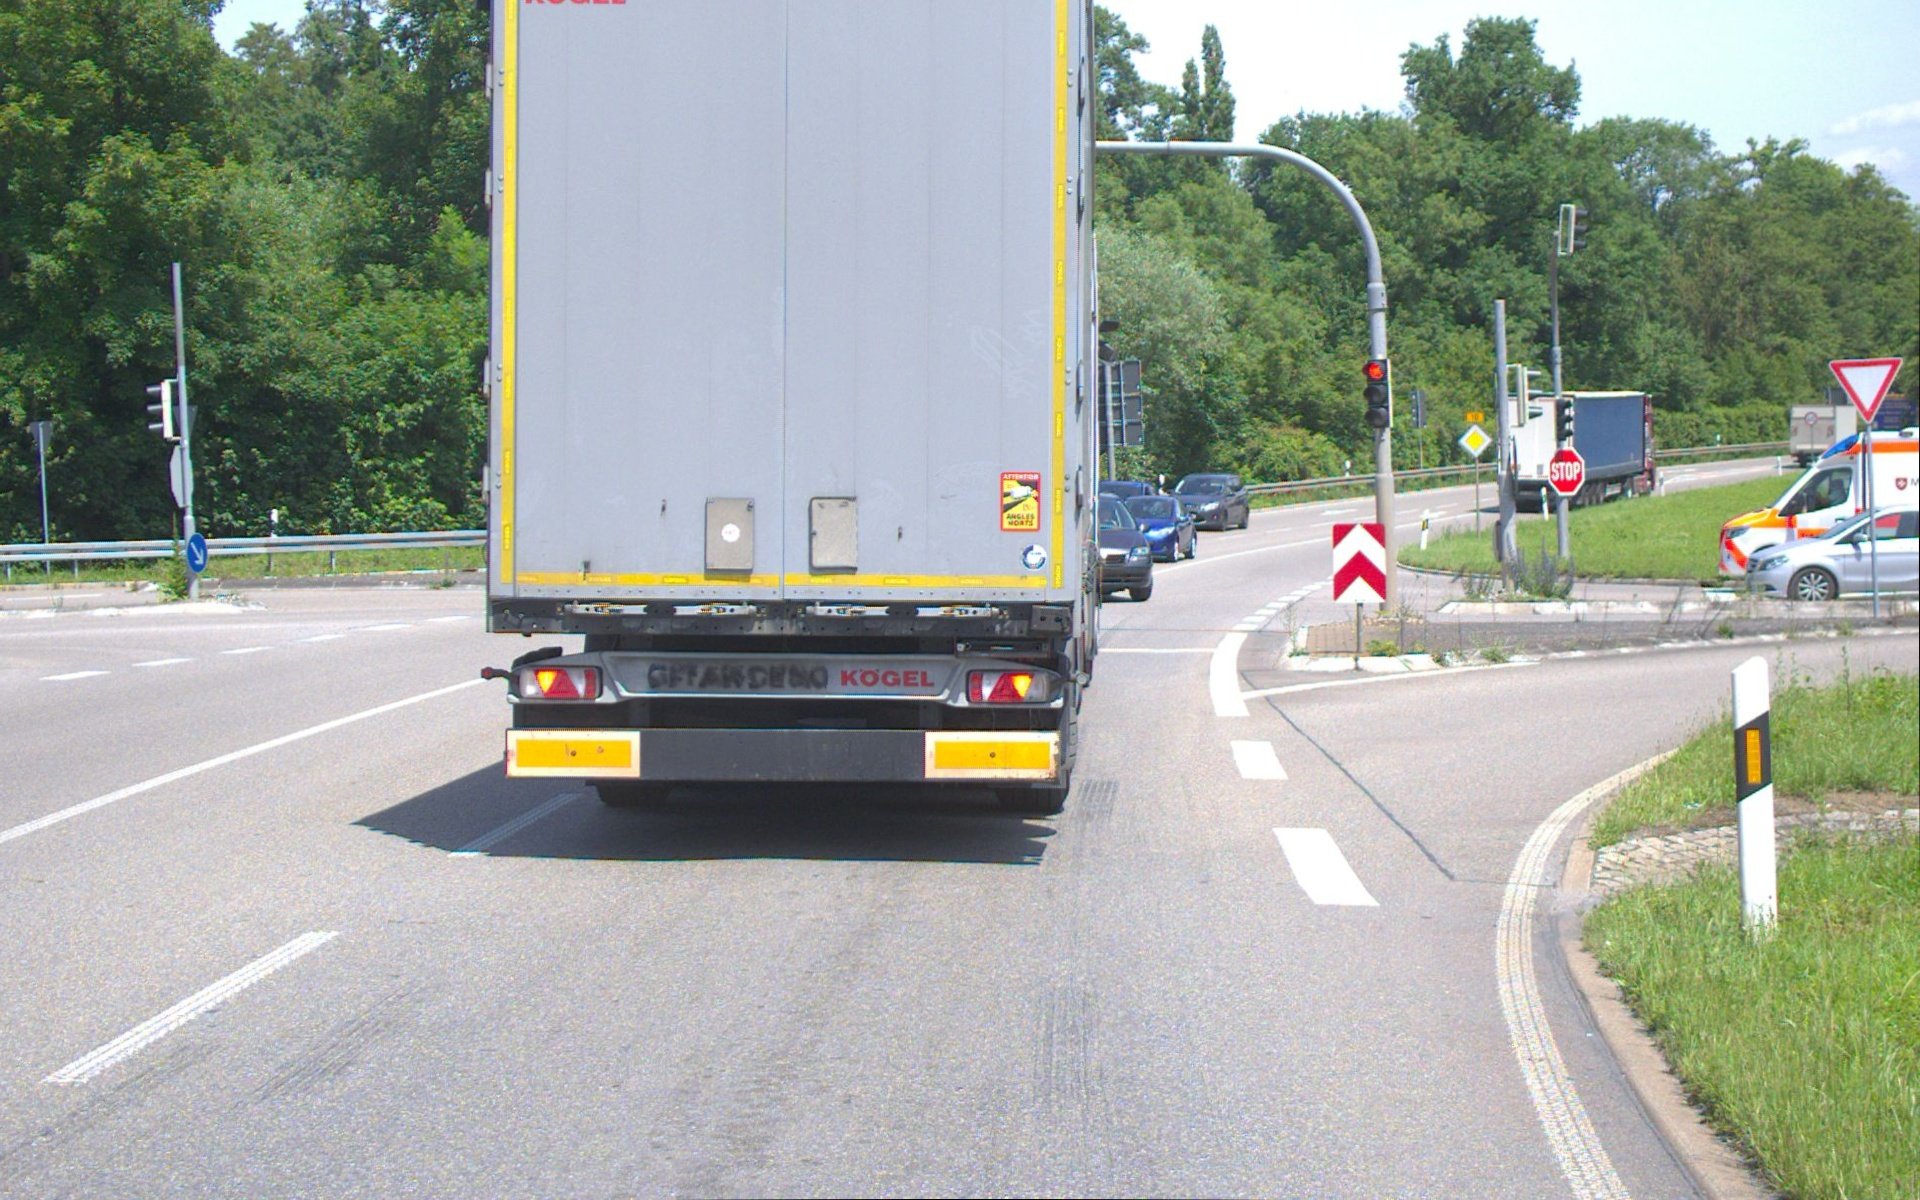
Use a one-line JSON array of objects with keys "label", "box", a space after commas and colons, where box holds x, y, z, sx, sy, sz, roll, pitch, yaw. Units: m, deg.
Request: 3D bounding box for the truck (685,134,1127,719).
[{"label": "truck", "box": [-0.246, -1.284, 27.011, 3.038, 4.020, 6.629, 0, 2, 2]}]

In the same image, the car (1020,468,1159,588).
[{"label": "car", "box": [2.148, -1.125, 55.687, 1.994, 1.779, 4.941, 1, 0, 5]}]

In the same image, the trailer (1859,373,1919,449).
[{"label": "trailer", "box": [49.144, -9.762, 178.936, 3.255, 3.672, 9.240, 1, 2, 23]}]

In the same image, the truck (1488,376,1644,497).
[{"label": "truck", "box": [21.273, -5.622, 120.135, 3.182, 4.015, 11.733, 1, 2, 21]}]

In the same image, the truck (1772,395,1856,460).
[{"label": "truck", "box": [40.947, -8.210, 164.703, 2.859, 2.938, 7.096, 1, 2, 23]}]

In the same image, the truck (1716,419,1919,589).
[{"label": "truck", "box": [15.729, -1.555, 56.746, 6.017, 2.718, 2.499, 1, 0, 21]}]

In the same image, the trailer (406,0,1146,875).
[{"label": "trailer", "box": [-0.514, -1.056, 20.452, 3.052, 4.020, 12.559, 0, 2, 2]}]

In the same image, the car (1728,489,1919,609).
[{"label": "car", "box": [13.924, -0.744, 51.641, 4.429, 1.712, 1.999, 1, 0, 6]}]
